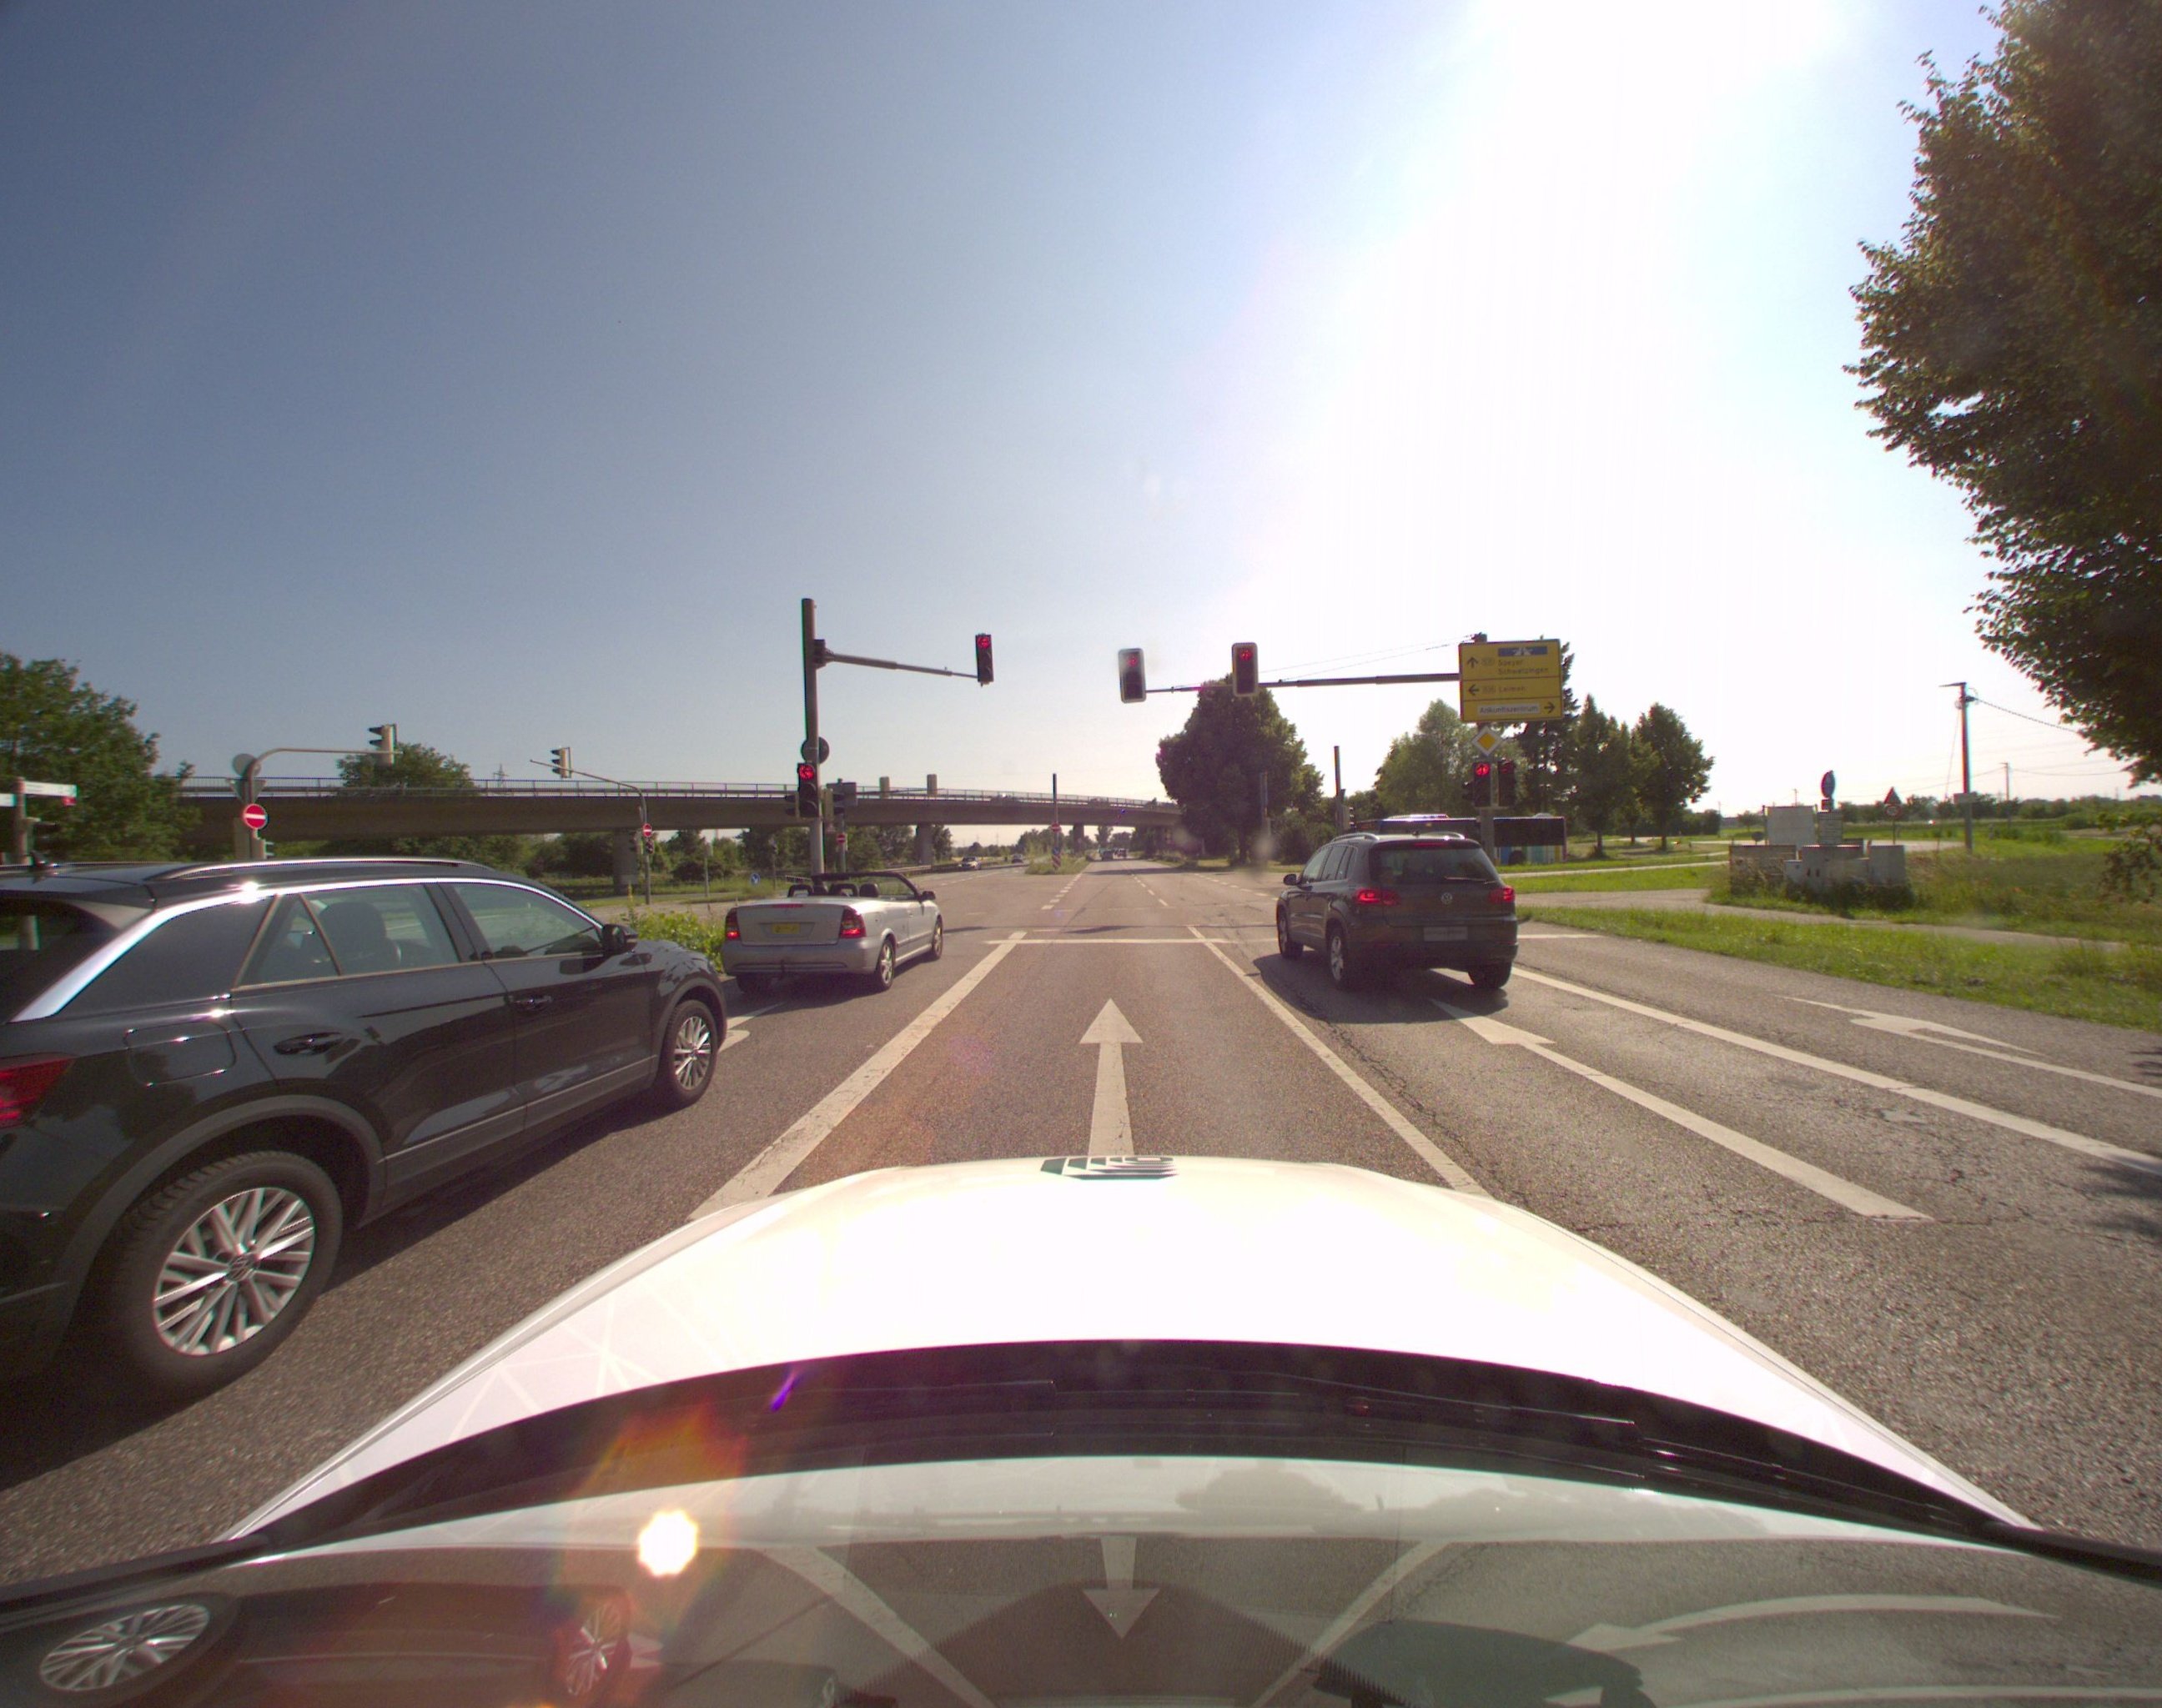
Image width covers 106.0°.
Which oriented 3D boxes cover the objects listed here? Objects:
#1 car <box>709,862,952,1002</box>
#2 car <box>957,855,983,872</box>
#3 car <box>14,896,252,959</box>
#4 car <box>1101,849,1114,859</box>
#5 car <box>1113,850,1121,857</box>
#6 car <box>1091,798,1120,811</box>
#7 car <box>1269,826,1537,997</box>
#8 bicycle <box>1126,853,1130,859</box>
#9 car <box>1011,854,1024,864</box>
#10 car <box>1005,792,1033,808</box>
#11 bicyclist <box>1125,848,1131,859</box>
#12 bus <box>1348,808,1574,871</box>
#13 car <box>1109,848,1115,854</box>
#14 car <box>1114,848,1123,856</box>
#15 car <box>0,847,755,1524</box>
[{"bbox_3d":[-2.908,0.821,10.433,1.667,1.335,4.100,-1,0,2],"label":"car"},{"bbox_3d":[-11.220,0.938,82.248,1.876,1.515,4.149,-5,0,1],"label":"car"},{"bbox_3d":[-27.681,2.104,23.967,4.125,1.424,1.859,-3,0,-18],"label":"car"},{"bbox_3d":[3.936,0.003,119.309,1.843,1.461,4.004,-1,0,3],"label":"car"},{"bbox_3d":[8.778,-0.090,200.677,1.986,1.631,4.001,0,-1,2],"label":"car"},{"bbox_3d":[3.193,-6.382,105.381,1.974,1.486,4.025,0,-1,32],"label":"car"},{"bbox_3d":[3.604,0.554,9.986,1.749,1.655,4.147,0,0,1],"label":"car"},{"bbox_3d":[8.197,0.376,140.892,0.598,0.983,2.362,-2,0,2],"label":"bicycle"},{"bbox_3d":[-9.983,0.790,127.953,1.608,1.442,3.778,-4,0,2],"label":"car"},{"bbox_3d":[-6.782,-5.876,89.014,1.306,1.486,3.218,-2,0,32],"label":"car"},{"bbox_3d":[8.171,-0.074,141.123,1.003,1.886,1.328,-2,0,3],"label":"bicyclist"},{"bbox_3d":[20.798,-0.804,44.593,11.952,2.877,2.929,-3,0,-13],"label":"bus"},{"bbox_3d":[9.984,-0.998,259.403,1.986,1.655,4.002,0,-1,2],"label":"car"},{"bbox_3d":[7.682,-0.426,165.727,1.866,1.640,4.004,0,0,3],"label":"car"},{"bbox_3d":[-3.275,0.765,3.736,1.722,1.547,4.100,-1,0,2],"label":"car"}]
